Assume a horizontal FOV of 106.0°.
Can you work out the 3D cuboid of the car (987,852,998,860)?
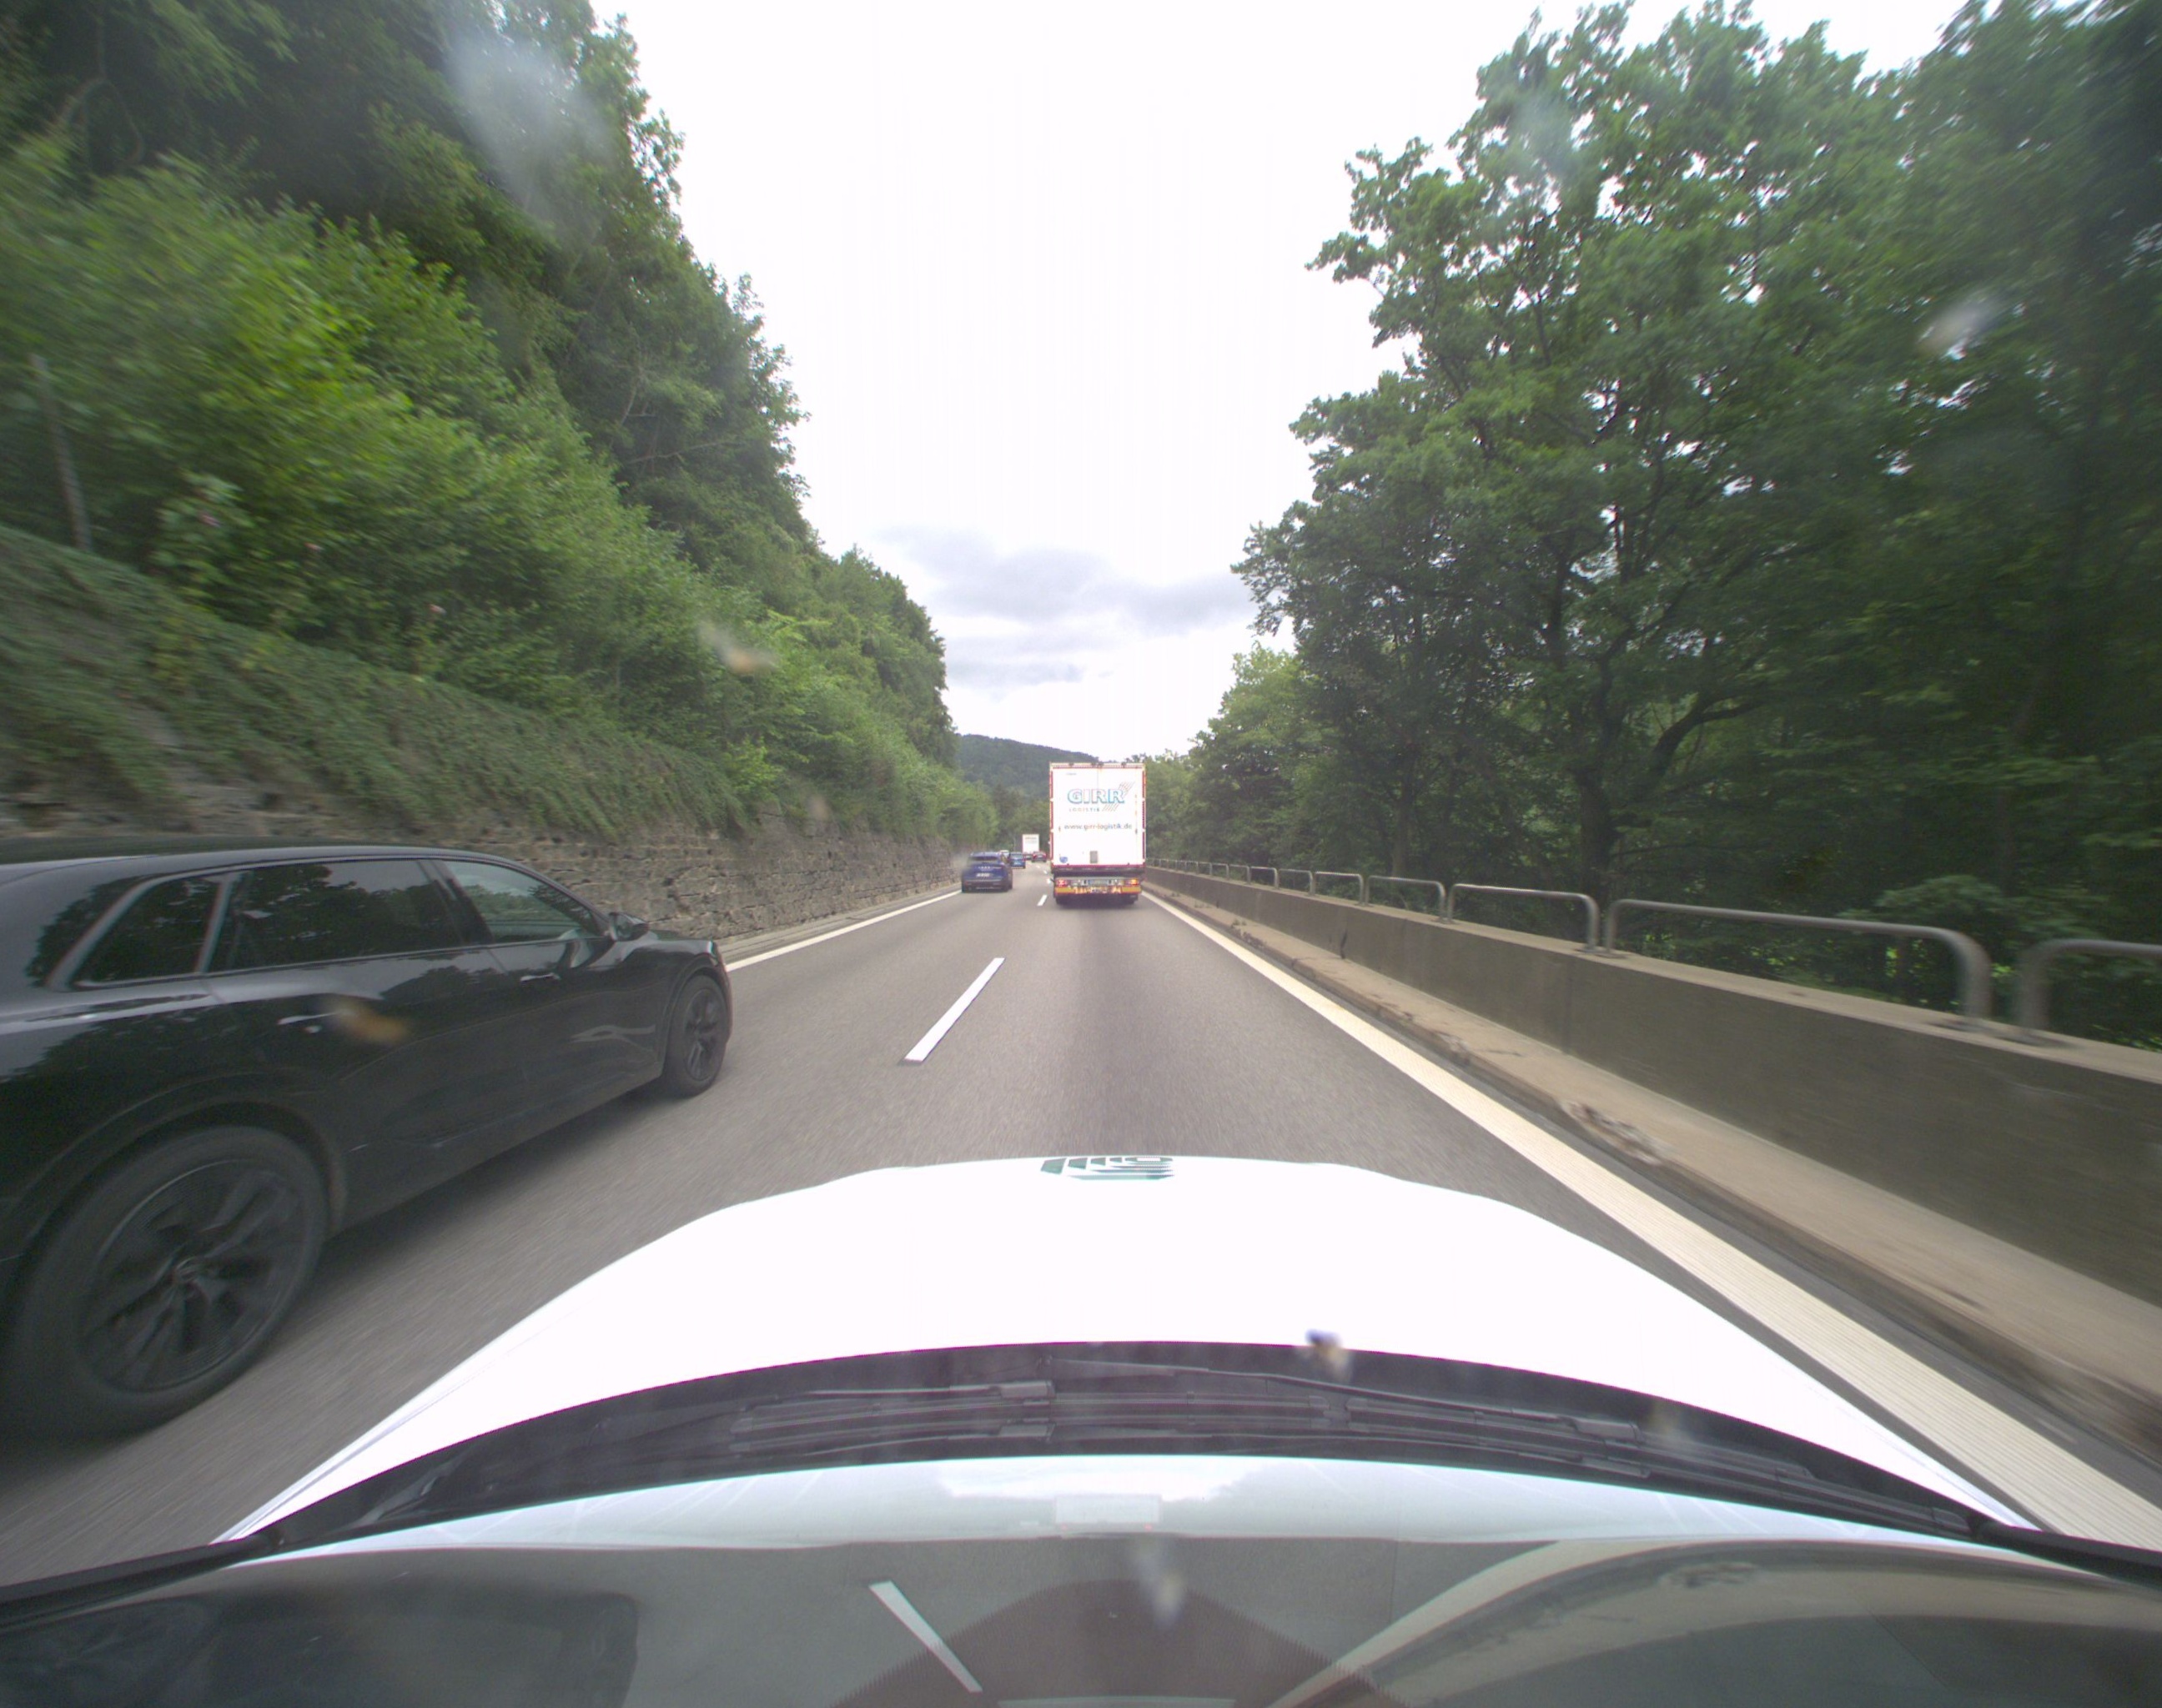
[{"bbox_3d":[-17.269,0.440,158.788,1.898,1.550,4.232,0,0,-12],"label":"car"}]

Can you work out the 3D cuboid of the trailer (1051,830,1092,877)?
[{"bbox_3d":[-0.835,-0.002,57.982,2.208,3.048,11.121,0,0,-4],"label":"trailer"}]

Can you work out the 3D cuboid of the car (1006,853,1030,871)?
[{"bbox_3d":[-5.821,0.727,74.824,1.992,1.596,4.341,0,0,-8],"label":"car"}]

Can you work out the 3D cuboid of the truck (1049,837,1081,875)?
[{"bbox_3d":[-1.279,0.155,63.667,2.205,2.851,4.996,0,0,-4],"label":"truck"}]

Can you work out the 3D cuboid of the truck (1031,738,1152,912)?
[{"bbox_3d":[0.279,-0.776,28.794,3.074,4.464,15.153,-1,0,0],"label":"truck"}]

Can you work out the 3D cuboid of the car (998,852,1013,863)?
[{"bbox_3d":[-11.008,0.530,118.563,1.897,1.550,4.234,0,0,-10],"label":"car"}]

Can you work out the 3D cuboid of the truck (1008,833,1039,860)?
[{"bbox_3d":[-9.121,-1.112,127.211,2.638,3.857,12.298,-1,0,-14],"label":"truck"}]

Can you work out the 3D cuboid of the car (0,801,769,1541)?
[{"bbox_3d":[-3.377,0.719,3.637,1.987,1.632,5.008,-1,0,0],"label":"car"}]

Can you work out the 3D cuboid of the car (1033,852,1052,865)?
[{"bbox_3d":[-5.044,0.568,105.806,2.060,1.654,3.987,-1,0,-9],"label":"car"}]

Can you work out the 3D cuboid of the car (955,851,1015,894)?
[{"bbox_3d":[-3.885,0.702,33.838,1.988,1.632,5.006,0,0,-1],"label":"car"}]
